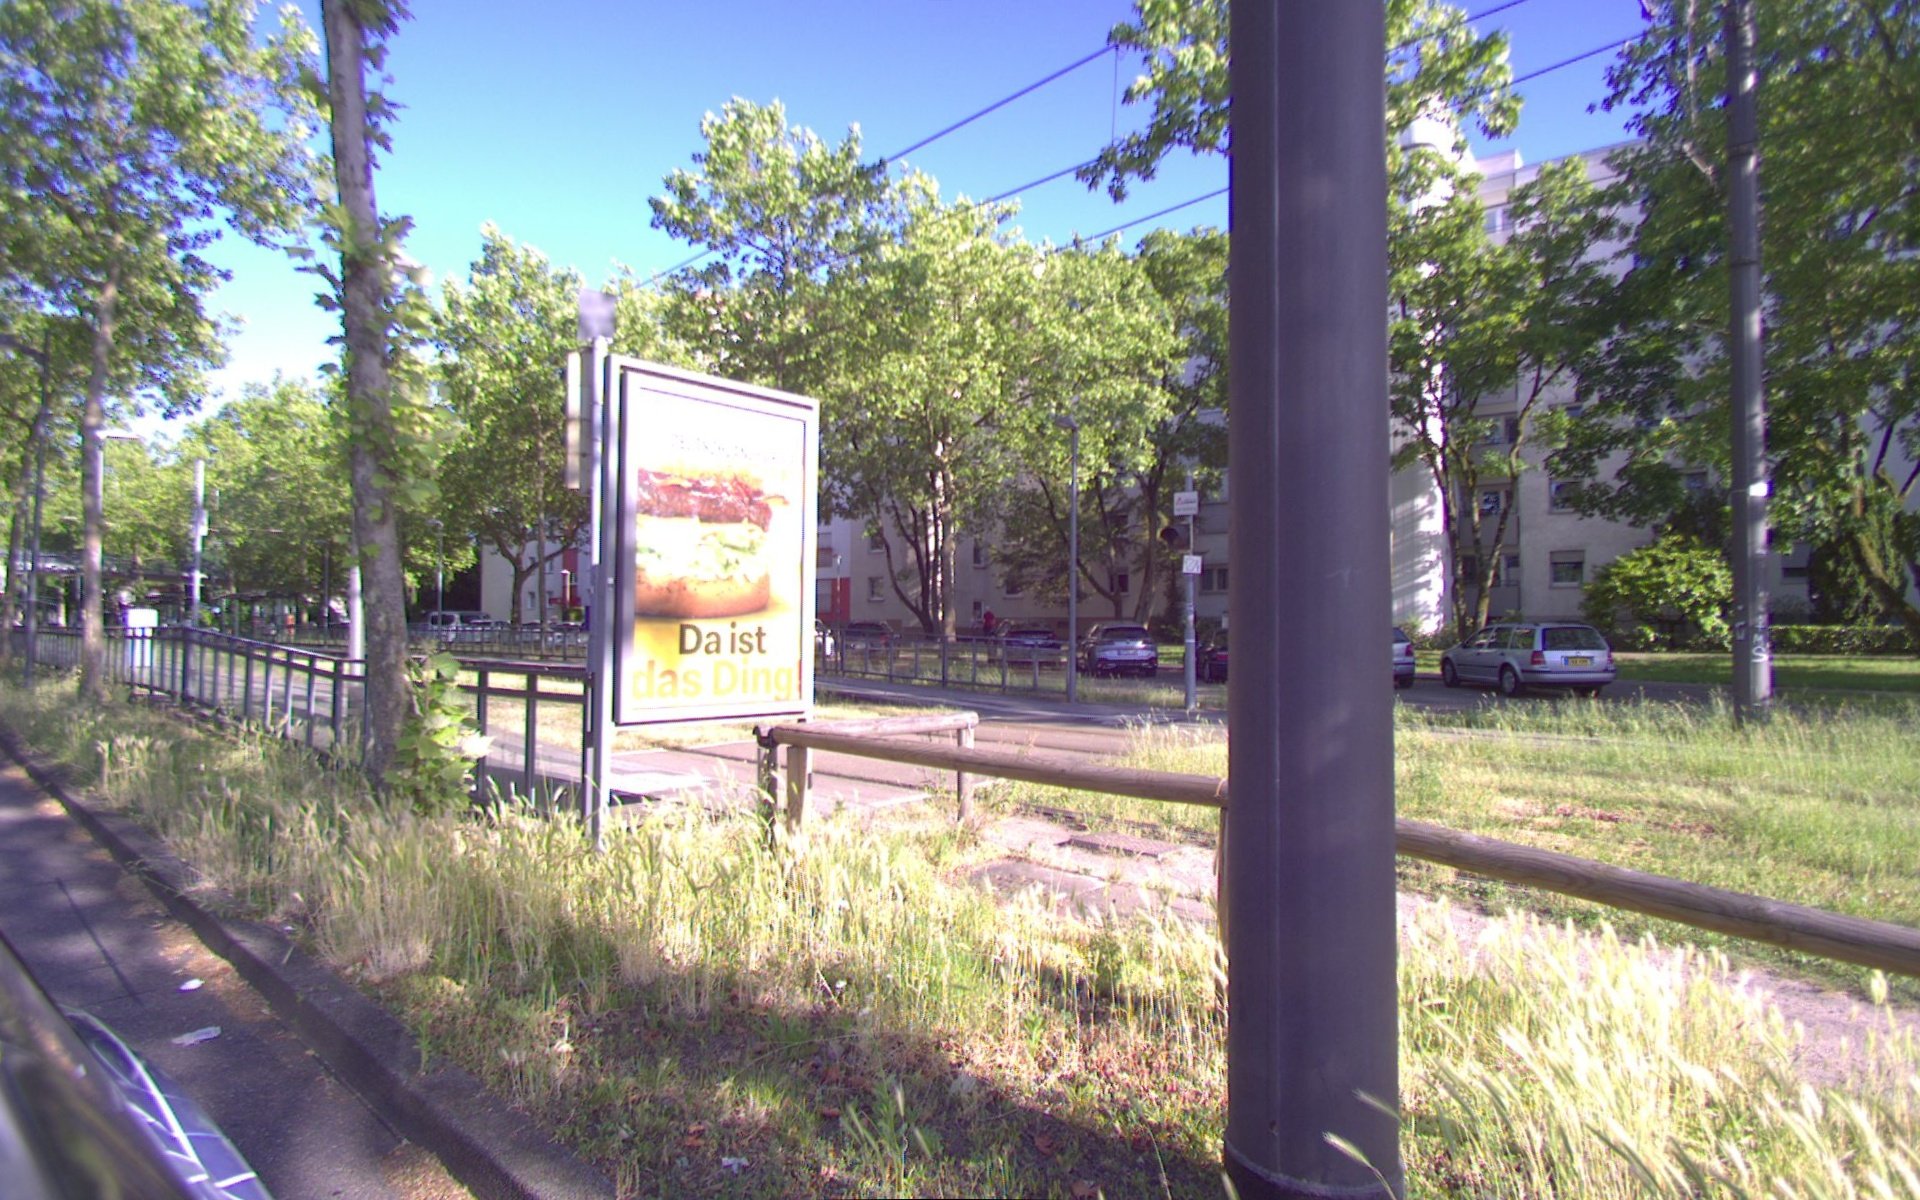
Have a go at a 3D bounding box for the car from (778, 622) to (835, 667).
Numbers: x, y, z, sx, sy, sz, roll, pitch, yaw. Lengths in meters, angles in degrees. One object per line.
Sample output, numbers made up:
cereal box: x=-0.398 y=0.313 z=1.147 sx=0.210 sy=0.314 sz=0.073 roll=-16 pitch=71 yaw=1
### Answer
car: x=-5.556 y=1.571 z=37.022 sx=1.633 sy=1.522 sz=3.805 roll=-1 pitch=-1 yaw=-2

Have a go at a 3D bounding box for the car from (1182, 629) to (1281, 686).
car: x=6.684 y=1.379 z=25.281 sx=1.445 sy=1.234 sz=3.815 roll=-1 pitch=-1 yaw=0

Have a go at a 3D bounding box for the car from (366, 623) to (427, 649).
car: x=-33.684 y=2.116 z=60.608 sx=1.633 sy=1.452 sz=3.805 roll=-1 pitch=-1 yaw=-2

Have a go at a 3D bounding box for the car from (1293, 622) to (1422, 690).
car: x=9.152 y=1.240 z=23.595 sx=1.559 sy=1.413 sz=3.638 roll=-1 pitch=-1 yaw=0

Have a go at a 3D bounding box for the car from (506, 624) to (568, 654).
car: x=-21.327 y=1.942 z=51.188 sx=1.633 sy=1.452 sz=3.805 roll=-1 pitch=-1 yaw=-2

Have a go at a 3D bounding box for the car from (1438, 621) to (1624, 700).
car: x=11.482 y=1.162 z=20.669 sx=1.559 sy=1.413 sz=3.906 roll=-1 pitch=-1 yaw=0

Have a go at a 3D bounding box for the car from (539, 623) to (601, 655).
car: x=-19.035 y=1.899 z=49.545 sx=1.633 sy=1.452 sz=3.805 roll=-1 pitch=-1 yaw=-2

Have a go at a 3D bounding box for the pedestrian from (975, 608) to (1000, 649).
pedestrian: x=1.196 y=1.222 z=44.001 sx=0.786 sy=1.745 sz=0.755 roll=-1 pitch=0 yaw=39

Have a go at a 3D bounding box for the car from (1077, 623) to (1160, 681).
car: x=4.227 y=1.366 z=27.523 sx=1.633 sy=1.413 sz=3.803 roll=-1 pitch=-1 yaw=0

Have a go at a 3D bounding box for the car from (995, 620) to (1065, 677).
car: x=1.992 y=1.356 z=29.671 sx=1.633 sy=1.522 sz=3.805 roll=-1 pitch=-1 yaw=-2

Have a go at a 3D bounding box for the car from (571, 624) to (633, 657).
car: x=-16.617 y=1.857 z=47.164 sx=1.633 sy=1.452 sz=3.805 roll=-1 pitch=-1 yaw=-2

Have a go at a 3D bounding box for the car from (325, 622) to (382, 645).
car: x=-40.828 y=2.229 z=68.197 sx=1.633 sy=1.452 sz=3.805 roll=-1 pitch=-1 yaw=-2

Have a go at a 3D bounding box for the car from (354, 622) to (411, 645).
car: x=-37.835 y=2.174 z=66.385 sx=1.633 sy=1.452 sz=3.805 roll=-1 pitch=-1 yaw=-2

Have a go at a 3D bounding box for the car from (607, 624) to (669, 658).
car: x=-14.053 y=1.767 z=44.341 sx=1.633 sy=1.366 sz=3.805 roll=-1 pitch=-1 yaw=-2

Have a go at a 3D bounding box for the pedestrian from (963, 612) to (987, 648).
pedestrian: x=0.682 y=1.367 z=46.522 sx=0.786 sy=1.635 sz=0.755 roll=-1 pitch=0 yaw=39

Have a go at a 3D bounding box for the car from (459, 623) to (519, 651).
car: x=-25.861 y=2.002 z=55.665 sx=1.633 sy=1.452 sz=3.805 roll=-1 pitch=-1 yaw=-2

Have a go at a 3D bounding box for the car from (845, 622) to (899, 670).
car: x=-2.967 y=1.528 z=34.653 sx=1.633 sy=1.522 sz=3.805 roll=-1 pitch=-1 yaw=-2

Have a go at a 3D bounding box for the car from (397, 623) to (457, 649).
car: x=-31.322 y=2.085 z=59.604 sx=1.633 sy=1.452 sz=3.805 roll=-1 pitch=-1 yaw=-2

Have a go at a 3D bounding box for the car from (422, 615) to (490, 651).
car: x=-28.443 y=1.827 z=57.259 sx=1.814 sy=1.888 sz=4.323 roll=-1 pitch=-1 yaw=-2

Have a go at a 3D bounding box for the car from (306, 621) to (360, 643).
car: x=-44.969 y=2.290 z=72.687 sx=1.633 sy=1.452 sz=3.805 roll=-1 pitch=-1 yaw=-2
